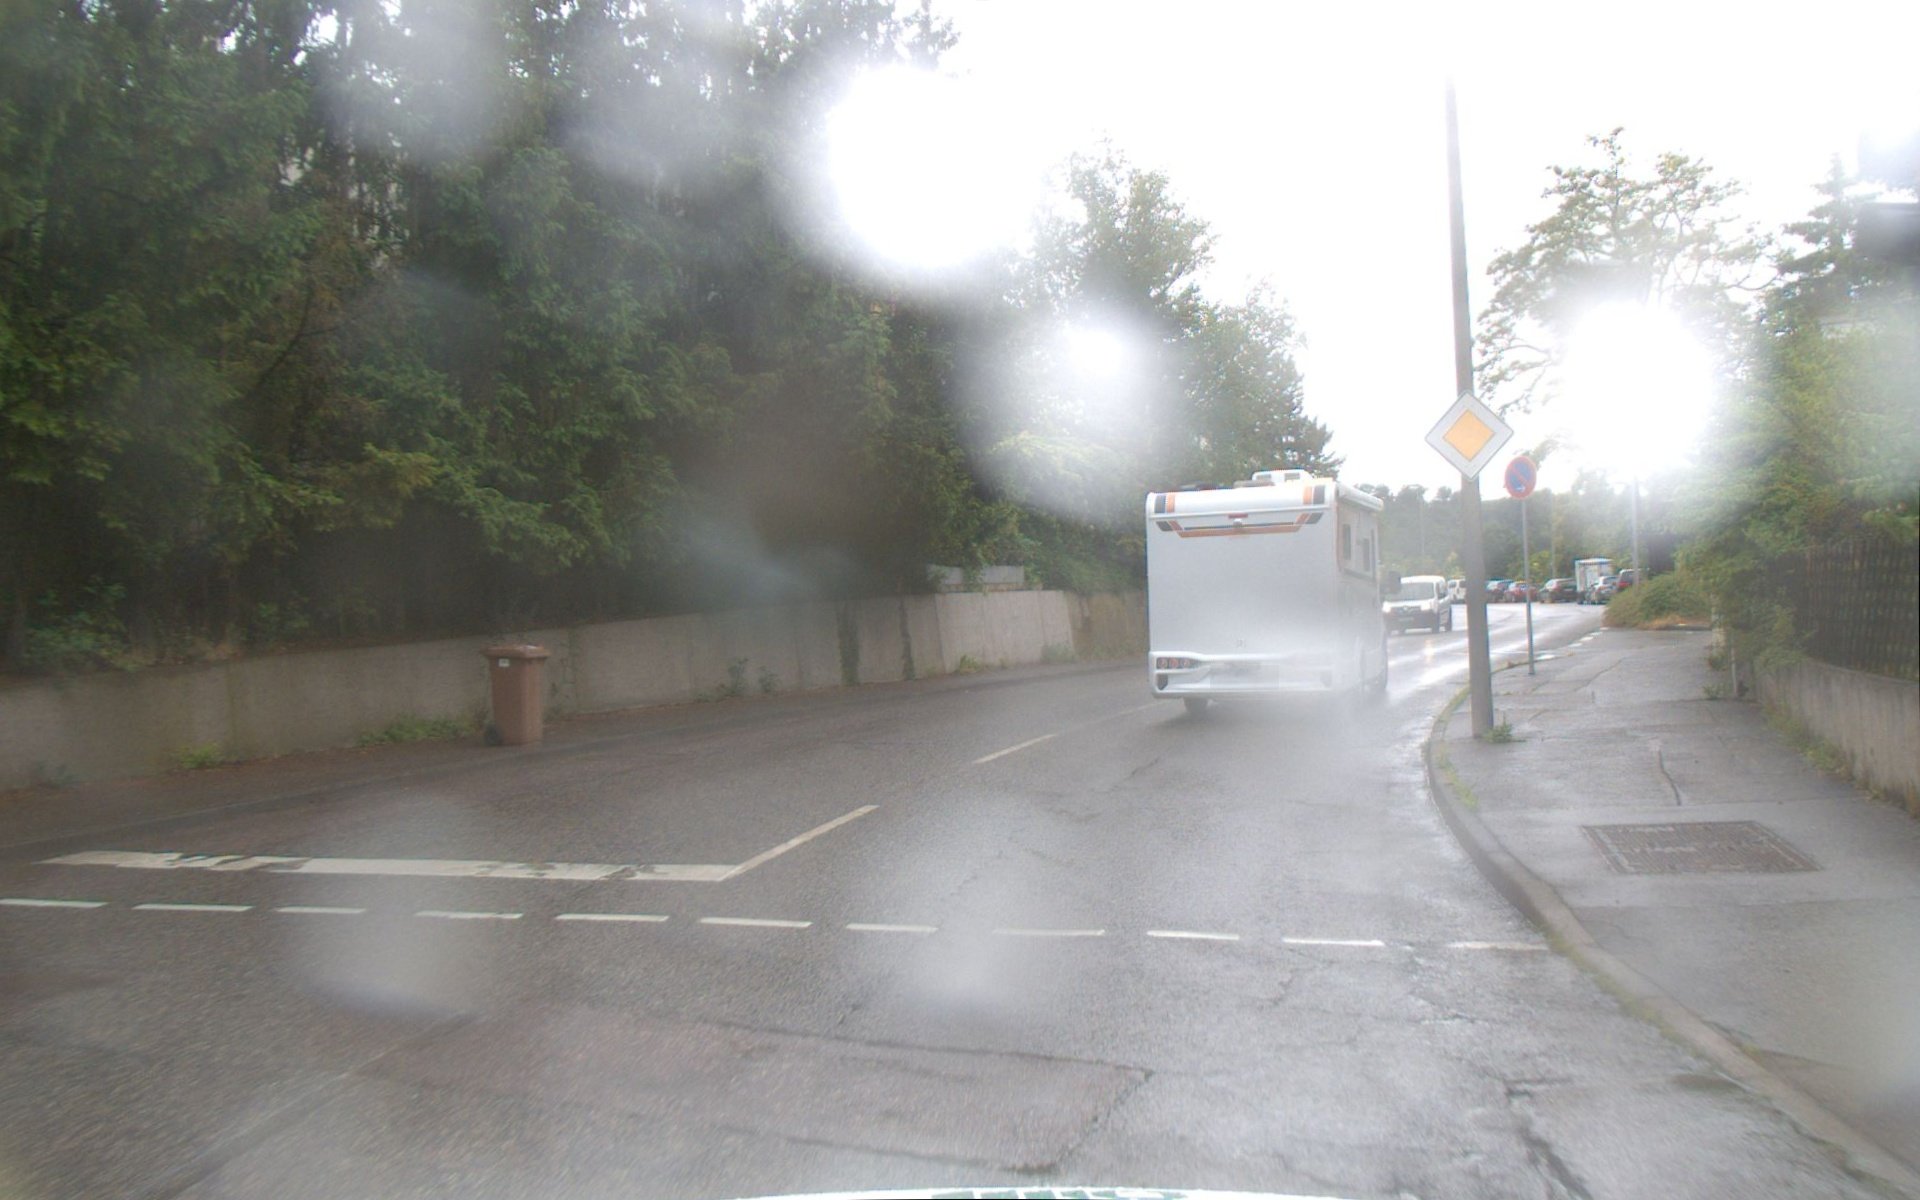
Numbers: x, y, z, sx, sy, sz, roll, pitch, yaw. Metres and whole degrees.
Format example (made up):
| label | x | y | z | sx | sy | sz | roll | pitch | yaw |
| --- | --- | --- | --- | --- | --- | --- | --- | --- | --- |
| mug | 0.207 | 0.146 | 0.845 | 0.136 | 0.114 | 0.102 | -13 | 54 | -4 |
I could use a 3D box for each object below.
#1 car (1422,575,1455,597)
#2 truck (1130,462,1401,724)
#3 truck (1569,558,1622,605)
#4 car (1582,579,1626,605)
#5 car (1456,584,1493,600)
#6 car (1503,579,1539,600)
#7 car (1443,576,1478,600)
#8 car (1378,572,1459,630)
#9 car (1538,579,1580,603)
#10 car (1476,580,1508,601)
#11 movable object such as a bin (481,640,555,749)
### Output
| label | x | y | z | sx | sy | sz | roll | pitch | yaw |
| --- | --- | --- | --- | --- | --- | --- | --- | --- | --- |
| car | 40.429 | -1.151 | 139.886 | 1.612 | 1.751 | 3.999 | 1 | -1 | 0 |
| truck | 4.163 | -0.093 | 21.436 | 2.463 | 2.867 | 6.203 | 0 | 0 | 20 |
| truck | 36.641 | -1.045 | 95.512 | 1.951 | 2.618 | 4.838 | -1 | 0 | 11 |
| car | 34.754 | -0.446 | 89.357 | 1.507 | 1.350 | 4.004 | -2 | 0 | 11 |
| car | 39.884 | -0.605 | 128.229 | 1.612 | 1.120 | 4.000 | -2 | 0 | 0 |
| car | 39.823 | -0.702 | 117.459 | 1.507 | 1.350 | 3.866 | 1 | -1 | 5 |
| car | 40.458 | -0.963 | 133.707 | 1.612 | 1.751 | 3.999 | 1 | -1 | 0 |
| car | 14.765 | 0.000 | 53.142 | 1.803 | 1.786 | 4.418 | -1 | 1 | 25 |
| car | 38.073 | -0.573 | 105.156 | 1.652 | 1.489 | 3.388 | -1 | 0 | 4 |
| car | 39.461 | -0.673 | 122.768 | 1.507 | 1.350 | 4.002 | 2 | -1 | 8 |
| movable object such as a bin | -4.226 | 0.892 | 15.824 | 0.489 | 0.996 | 0.490 | 1 | 0 | 16 |
